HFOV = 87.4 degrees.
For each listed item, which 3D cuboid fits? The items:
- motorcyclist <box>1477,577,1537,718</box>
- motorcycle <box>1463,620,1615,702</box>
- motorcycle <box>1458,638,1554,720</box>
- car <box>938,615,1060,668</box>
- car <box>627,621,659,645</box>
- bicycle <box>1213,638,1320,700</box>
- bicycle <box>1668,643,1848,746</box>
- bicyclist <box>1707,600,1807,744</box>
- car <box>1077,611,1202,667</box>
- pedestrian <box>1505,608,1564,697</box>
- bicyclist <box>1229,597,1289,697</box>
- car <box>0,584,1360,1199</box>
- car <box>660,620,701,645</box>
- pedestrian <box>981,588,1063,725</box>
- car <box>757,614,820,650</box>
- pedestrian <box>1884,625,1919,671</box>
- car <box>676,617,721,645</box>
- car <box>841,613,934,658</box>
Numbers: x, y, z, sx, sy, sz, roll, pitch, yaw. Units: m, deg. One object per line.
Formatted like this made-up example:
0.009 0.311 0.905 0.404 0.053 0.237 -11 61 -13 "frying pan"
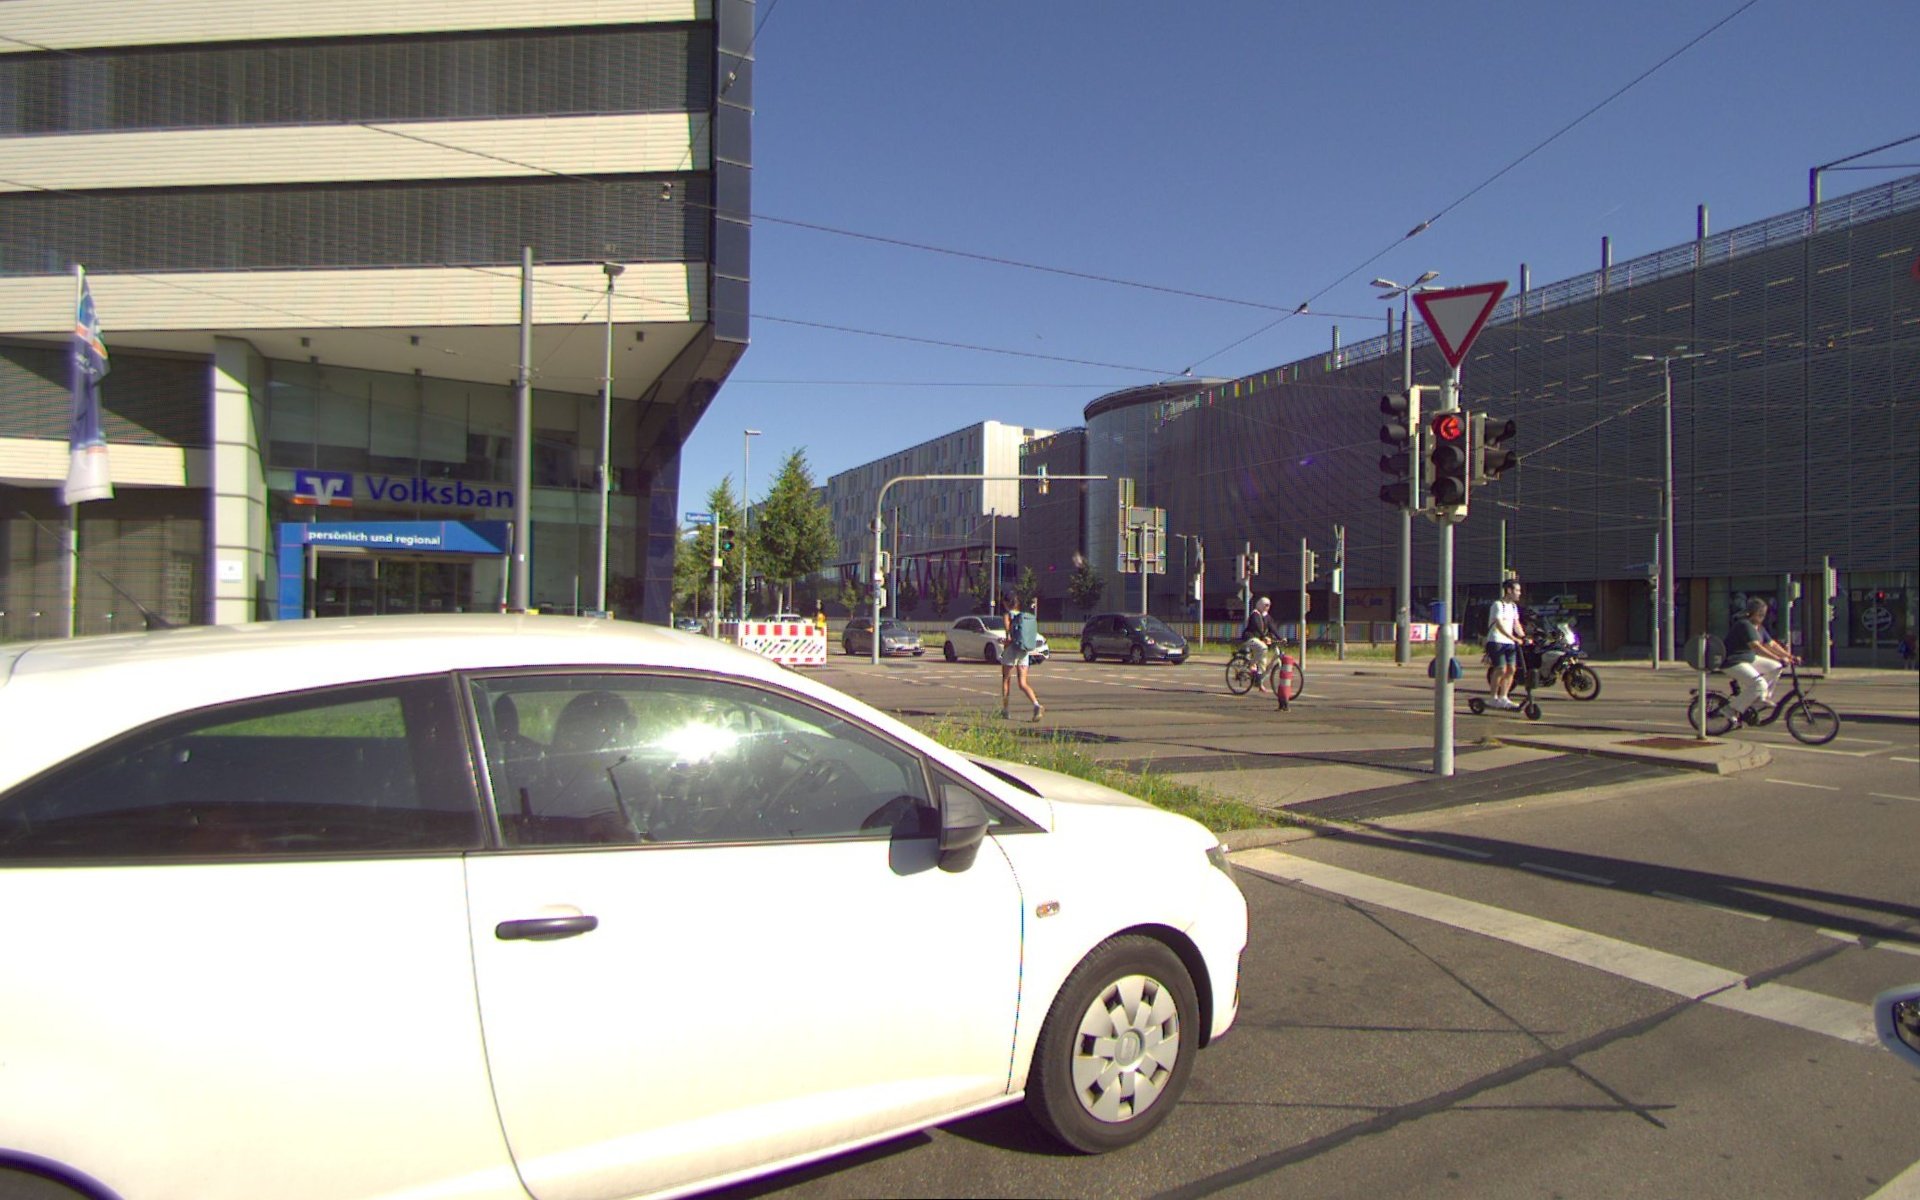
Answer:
8.113 0.698 14.902 0.491 2.040 0.625 1 -1 -30 "motorcyclist"
11.261 1.155 19.649 0.904 1.438 2.430 1 0 -31 "motorcycle"
8.091 1.149 14.927 0.477 1.136 1.181 1 -1 -30 "motorcycle"
1.113 1.215 30.623 1.890 1.483 4.058 1 -1 -30 "car"
-26.279 2.741 83.162 1.919 1.903 3.910 1 -1 -26 "car"
5.619 1.248 18.534 0.687 1.050 1.915 1 -1 -32 "bicycle"
9.650 1.107 12.196 0.726 1.121 1.568 1 -1 -31 "bicycle"
9.672 0.848 12.198 0.682 1.670 0.778 1 -1 -32 "bicyclist"
5.320 1.123 30.203 1.800 1.545 3.737 2 -1 -28 "car"
11.236 1.014 19.657 0.657 1.699 0.740 1 0 -30 "pedestrian"
5.542 0.863 18.642 0.755 1.812 0.758 1 -1 -33 "bicyclist"
-0.834 0.747 2.784 3.738 1.442 1.624 2 1 -30 "car"
-19.305 2.233 69.237 1.824 1.673 4.221 1 -1 -28 "car"
0.808 0.730 13.238 0.704 1.730 0.881 1 -1 -30 "pedestrian"
-8.493 1.560 49.483 1.824 1.673 4.221 1 -1 -28 "car"
40.039 2.035 42.659 0.804 1.893 0.906 1 -1 13 "pedestrian"
-16.661 1.945 63.787 1.824 1.673 4.221 1 -1 -28 "car"
-2.859 1.349 38.769 1.976 1.637 4.256 1 -1 -30 "car"
